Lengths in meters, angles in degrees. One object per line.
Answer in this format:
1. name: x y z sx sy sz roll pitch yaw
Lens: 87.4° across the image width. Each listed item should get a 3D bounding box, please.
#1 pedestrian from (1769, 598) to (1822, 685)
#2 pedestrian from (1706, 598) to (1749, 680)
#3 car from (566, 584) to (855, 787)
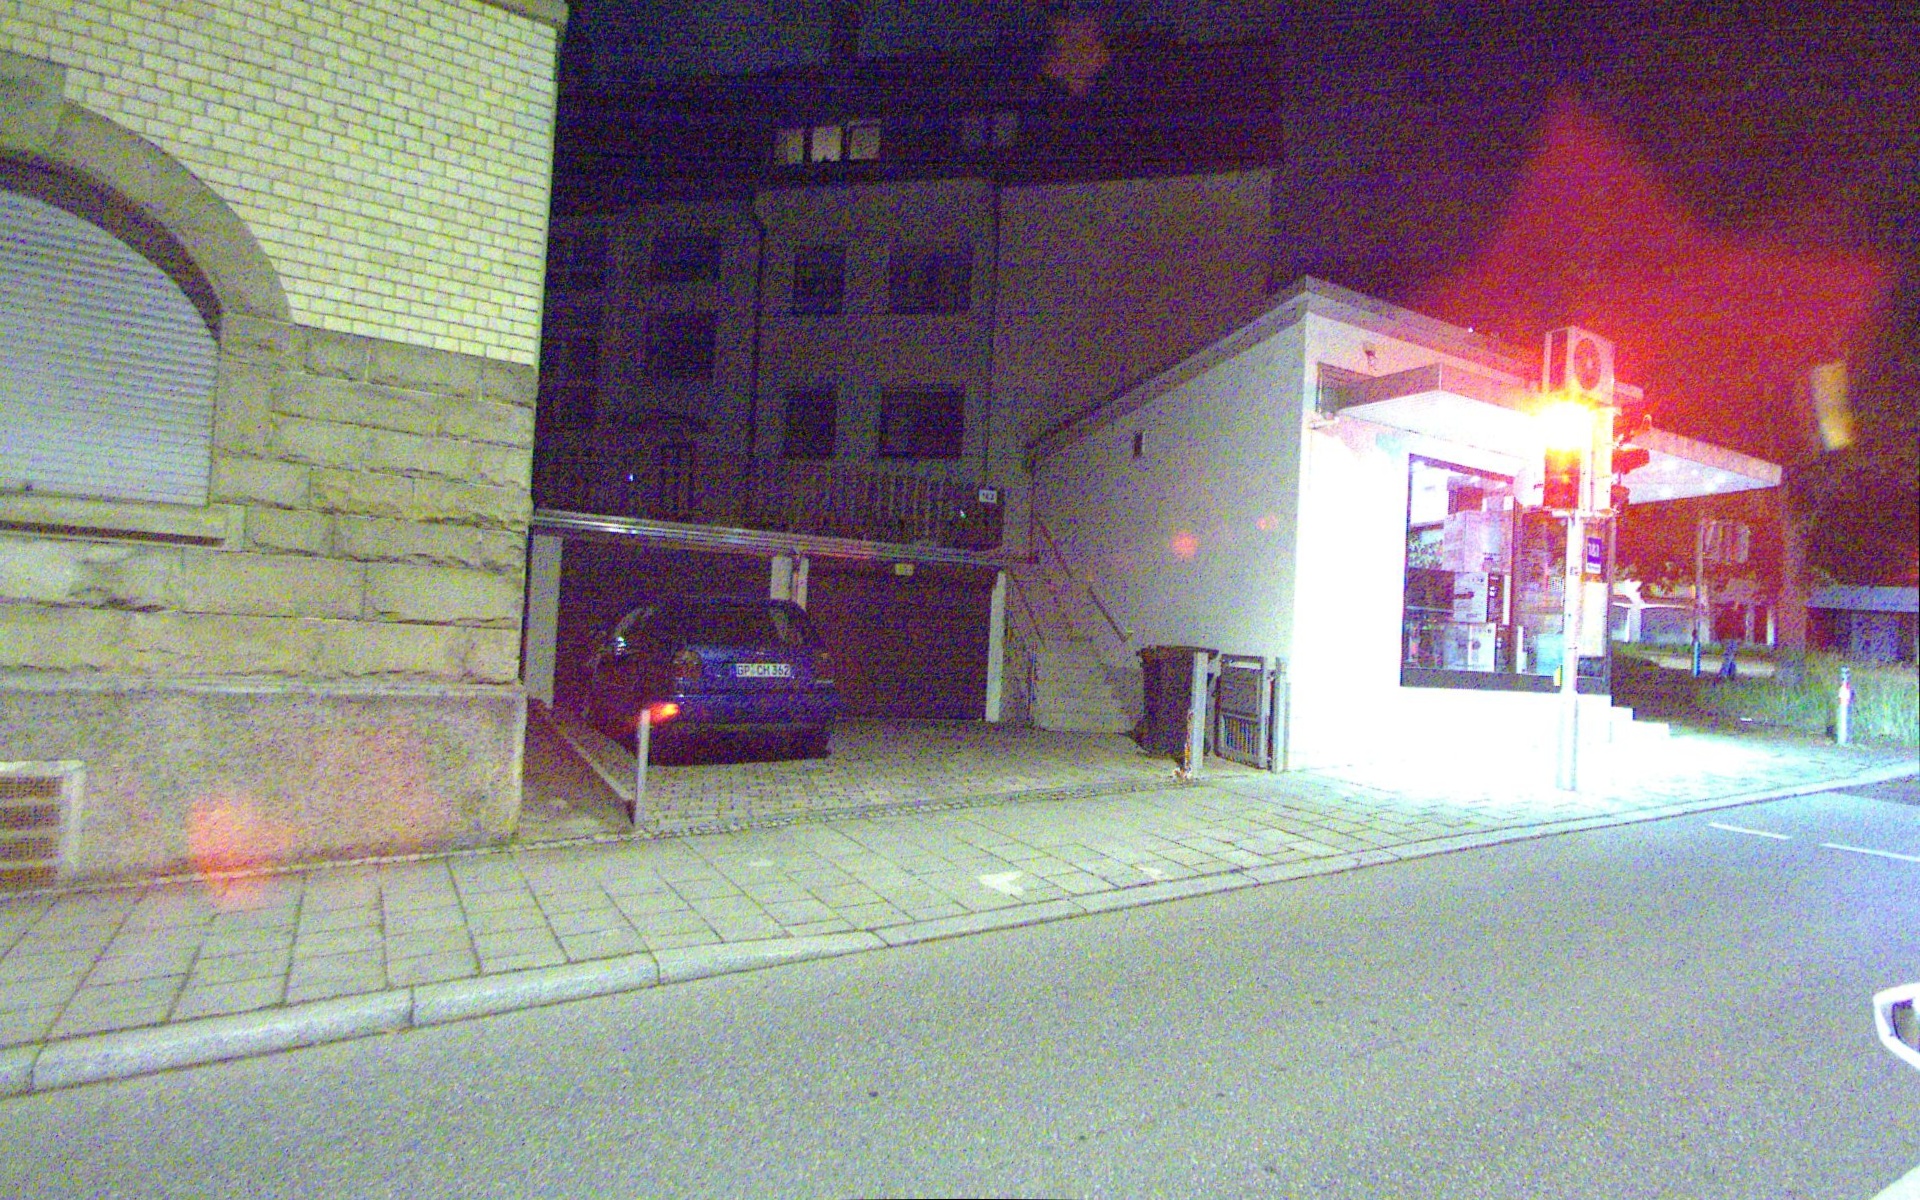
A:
1. pedestrian: 17.825 0.873 21.424 0.729 1.801 0.567 2 2 -30
2. pedestrian: 16.761 0.842 21.939 0.537 1.754 0.567 2 0 -30
3. car: -2.537 0.639 9.545 1.700 1.460 3.631 2 1 -30
